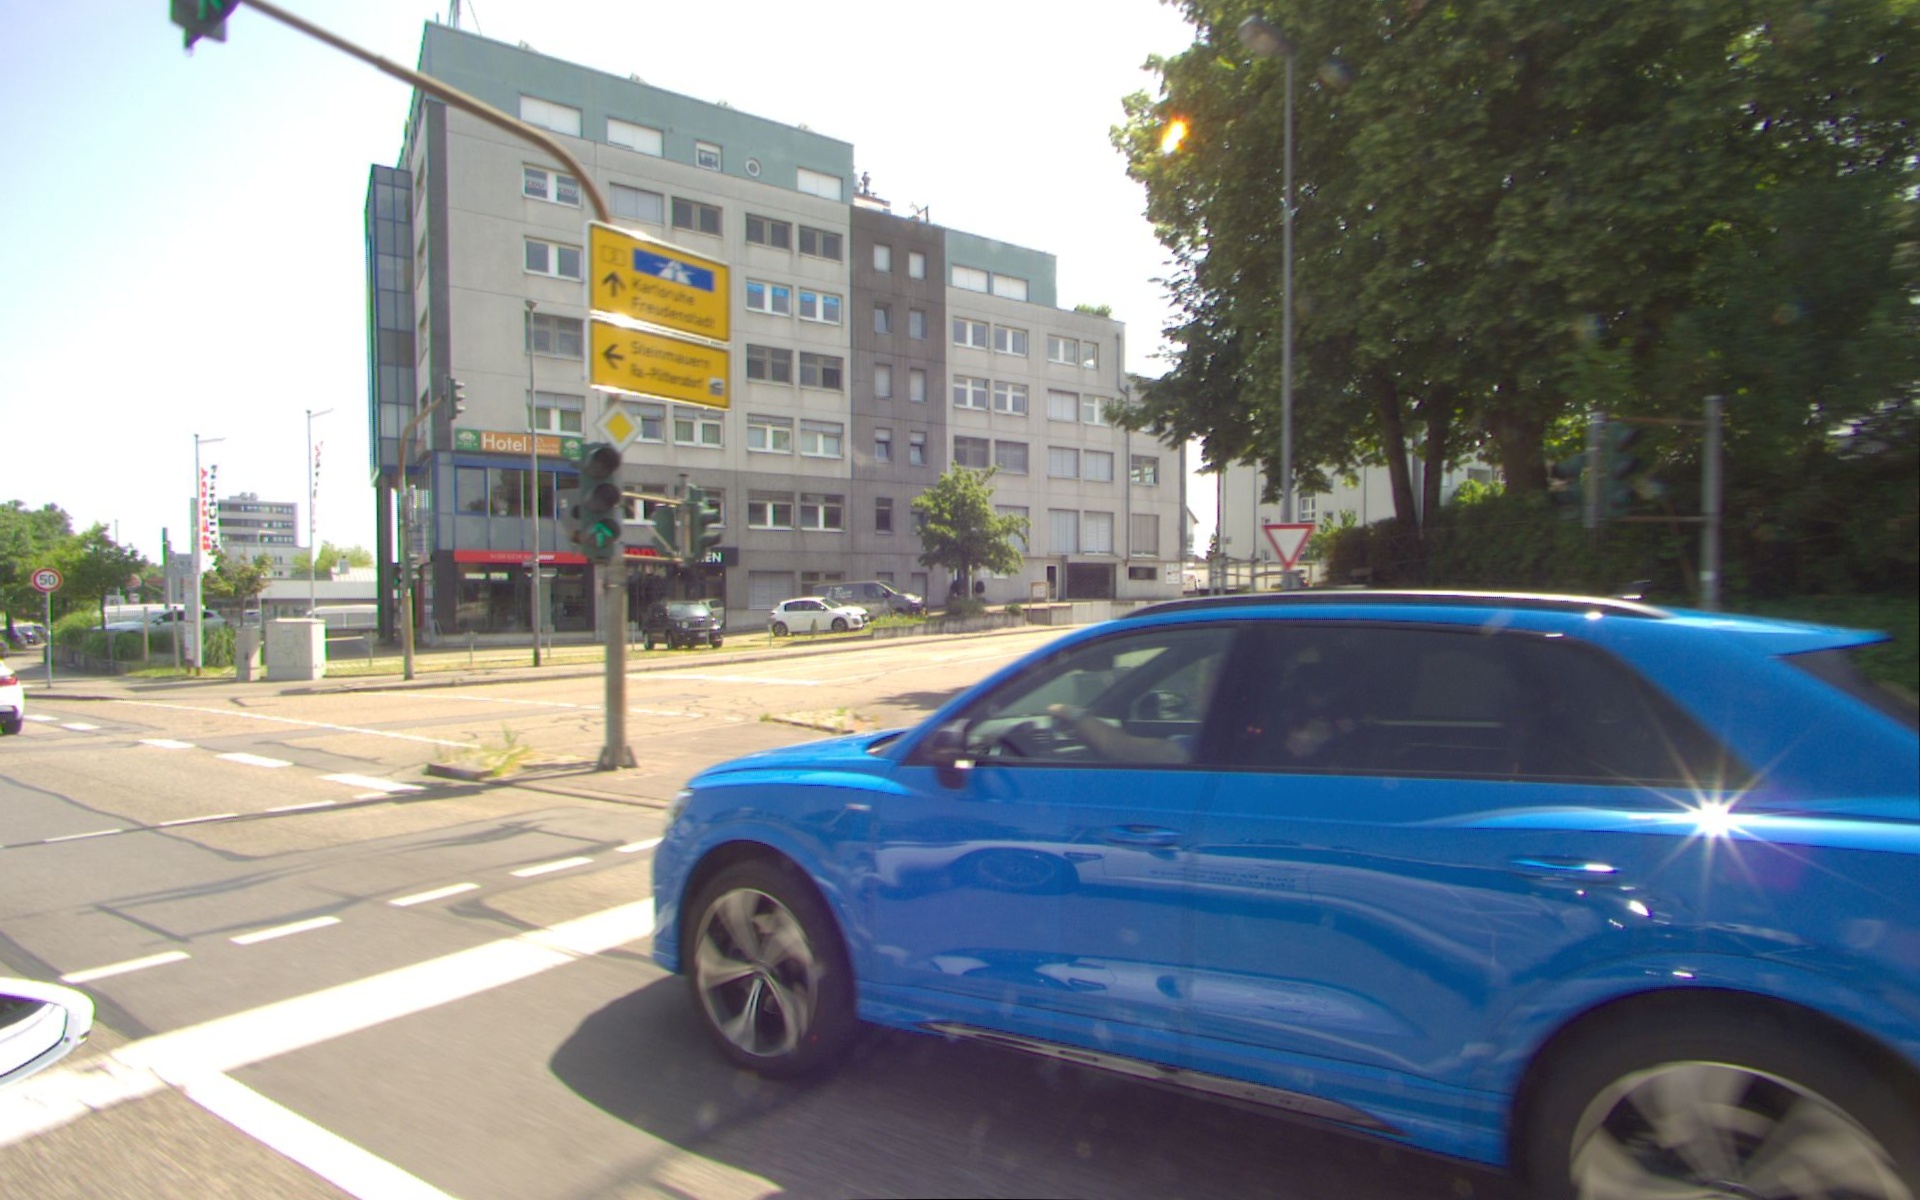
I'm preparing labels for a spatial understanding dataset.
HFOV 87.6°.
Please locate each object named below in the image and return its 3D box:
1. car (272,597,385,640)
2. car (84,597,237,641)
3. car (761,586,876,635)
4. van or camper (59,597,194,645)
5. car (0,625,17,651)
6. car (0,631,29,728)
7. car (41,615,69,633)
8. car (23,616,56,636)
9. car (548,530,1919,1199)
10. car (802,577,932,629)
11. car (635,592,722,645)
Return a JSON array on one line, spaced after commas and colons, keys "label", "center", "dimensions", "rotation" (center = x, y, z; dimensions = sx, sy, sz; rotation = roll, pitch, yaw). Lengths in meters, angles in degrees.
[{"label": "car", "center": [-39.036, 1.192, 61.974], "dimensions": [5.831, 2.560, 2.106], "rotation": [1, -2, -36]}, {"label": "car", "center": [-33.973, 0.857, 42.730], "dimensions": [1.968, 1.735, 4.725], "rotation": [-1, -2, 26]}, {"label": "car", "center": [-5.595, 0.437, 39.664], "dimensions": [4.148, 1.551, 1.543], "rotation": [-5, -3, 13]}, {"label": "van or camper", "center": [-55.174, 1.333, 66.545], "dimensions": [6.739, 2.937, 2.257], "rotation": [-1, 1, -39]}, {"label": "car", "center": [-54.004, 2.095, 55.844], "dimensions": [1.783, 1.424, 4.284], "rotation": [1, -2, -39]}, {"label": "car", "center": [-15.793, 1.188, 15.331], "dimensions": [3.745, 1.417, 1.661], "rotation": [-1, -1, 37]}, {"label": "car", "center": [-83.206, 2.164, 92.109], "dimensions": [1.699, 1.569, 4.750], "rotation": [-1, 1, -40]}, {"label": "car", "center": [-76.361, 2.135, 83.099], "dimensions": [1.840, 1.501, 5.110], "rotation": [0, 0, -41]}, {"label": "car", "center": [0.769, 0.714, 3.451], "dimensions": [4.333, 1.618, 1.909], "rotation": [-1, 0, 32]}, {"label": "car", "center": [-3.863, 0.168, 41.986], "dimensions": [5.095, 2.062, 1.891], "rotation": [0, -2, 13]}, {"label": "car", "center": [-9.781, 0.649, 34.609], "dimensions": [1.524, 1.697, 4.299], "rotation": [0, -1, -36]}]
